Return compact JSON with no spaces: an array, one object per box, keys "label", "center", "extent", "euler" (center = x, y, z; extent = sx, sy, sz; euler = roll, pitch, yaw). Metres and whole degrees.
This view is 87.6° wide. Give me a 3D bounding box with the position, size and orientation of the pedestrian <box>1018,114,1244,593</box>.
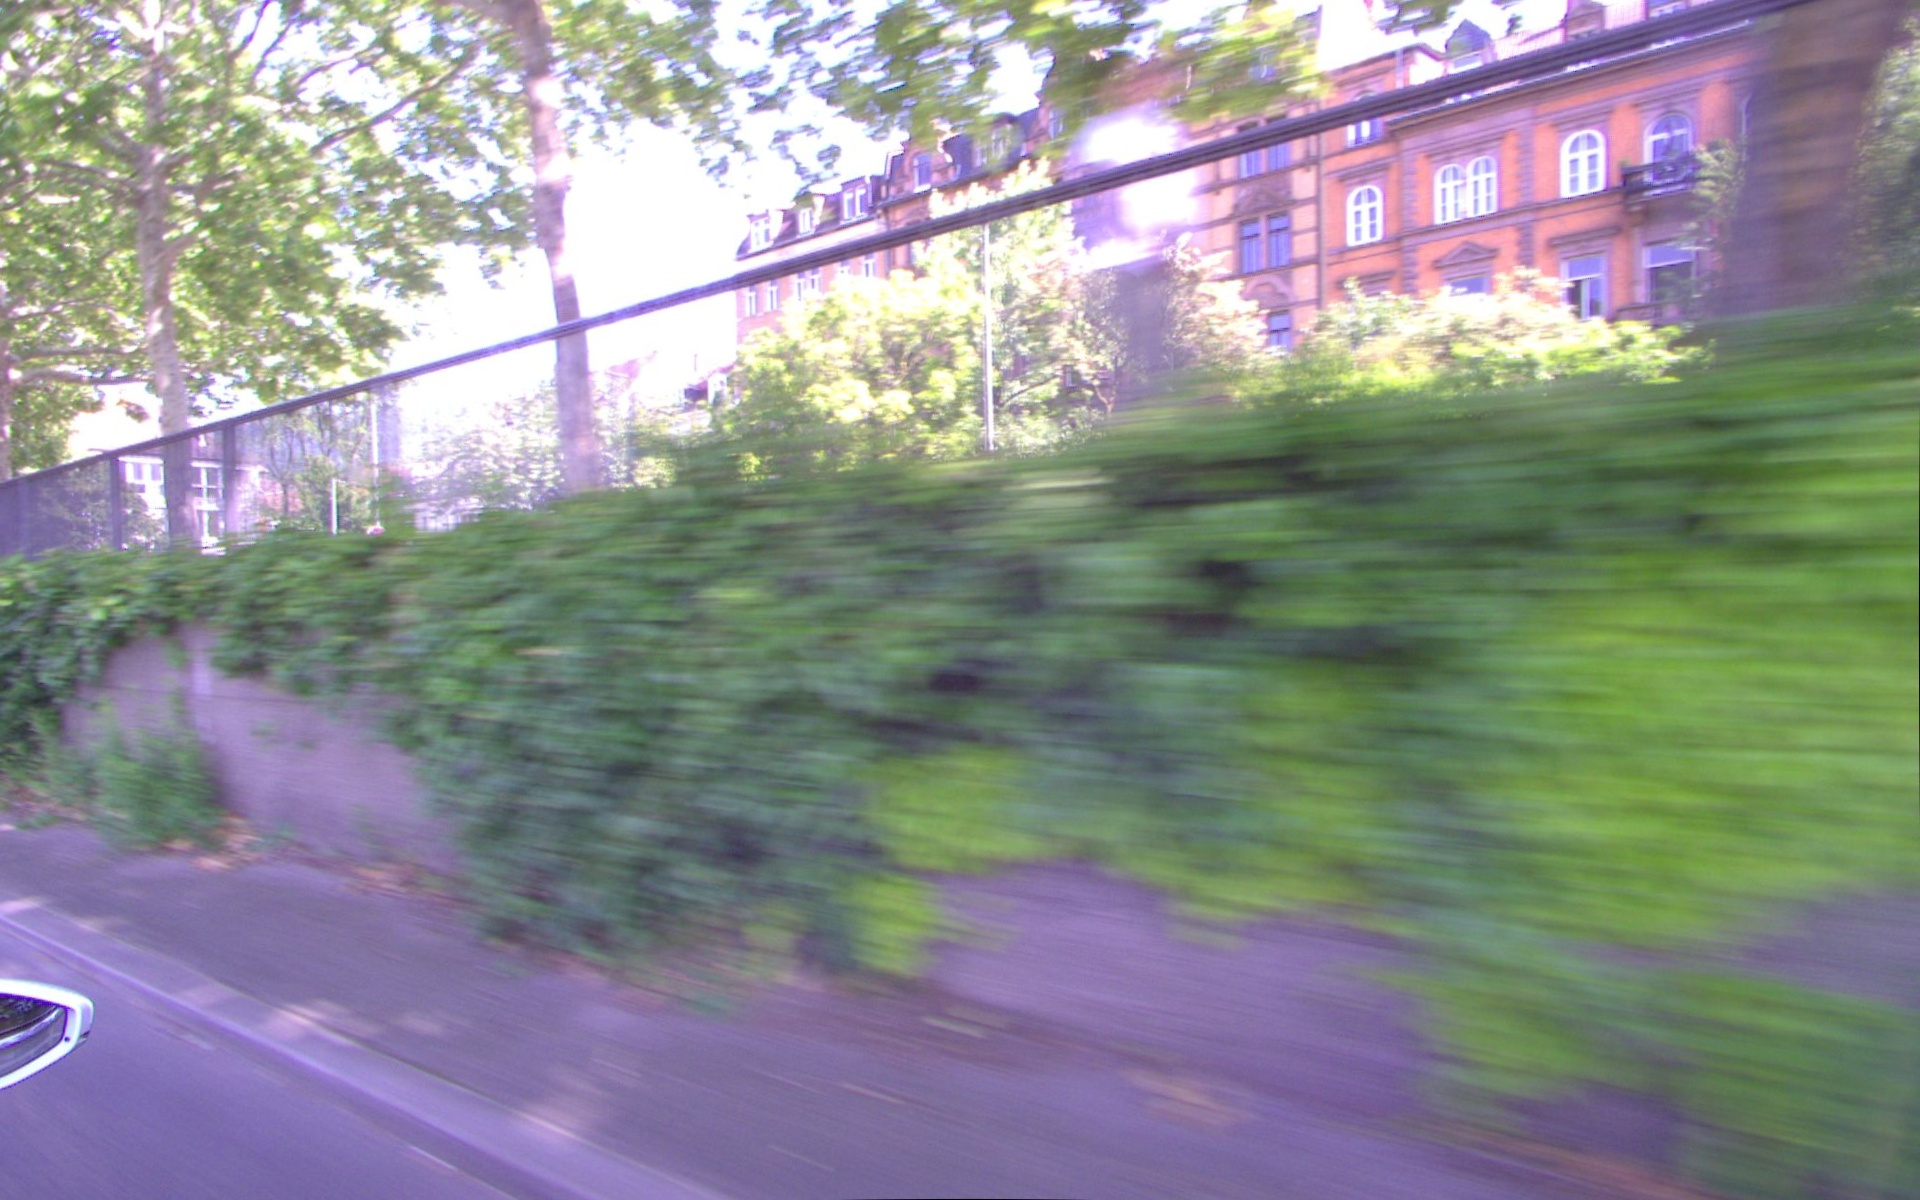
[{"label":"pedestrian","center":[0.675,-0.841,3.863],"extent":[0.641,1.612,0.663],"euler":[0,1,32]}]
